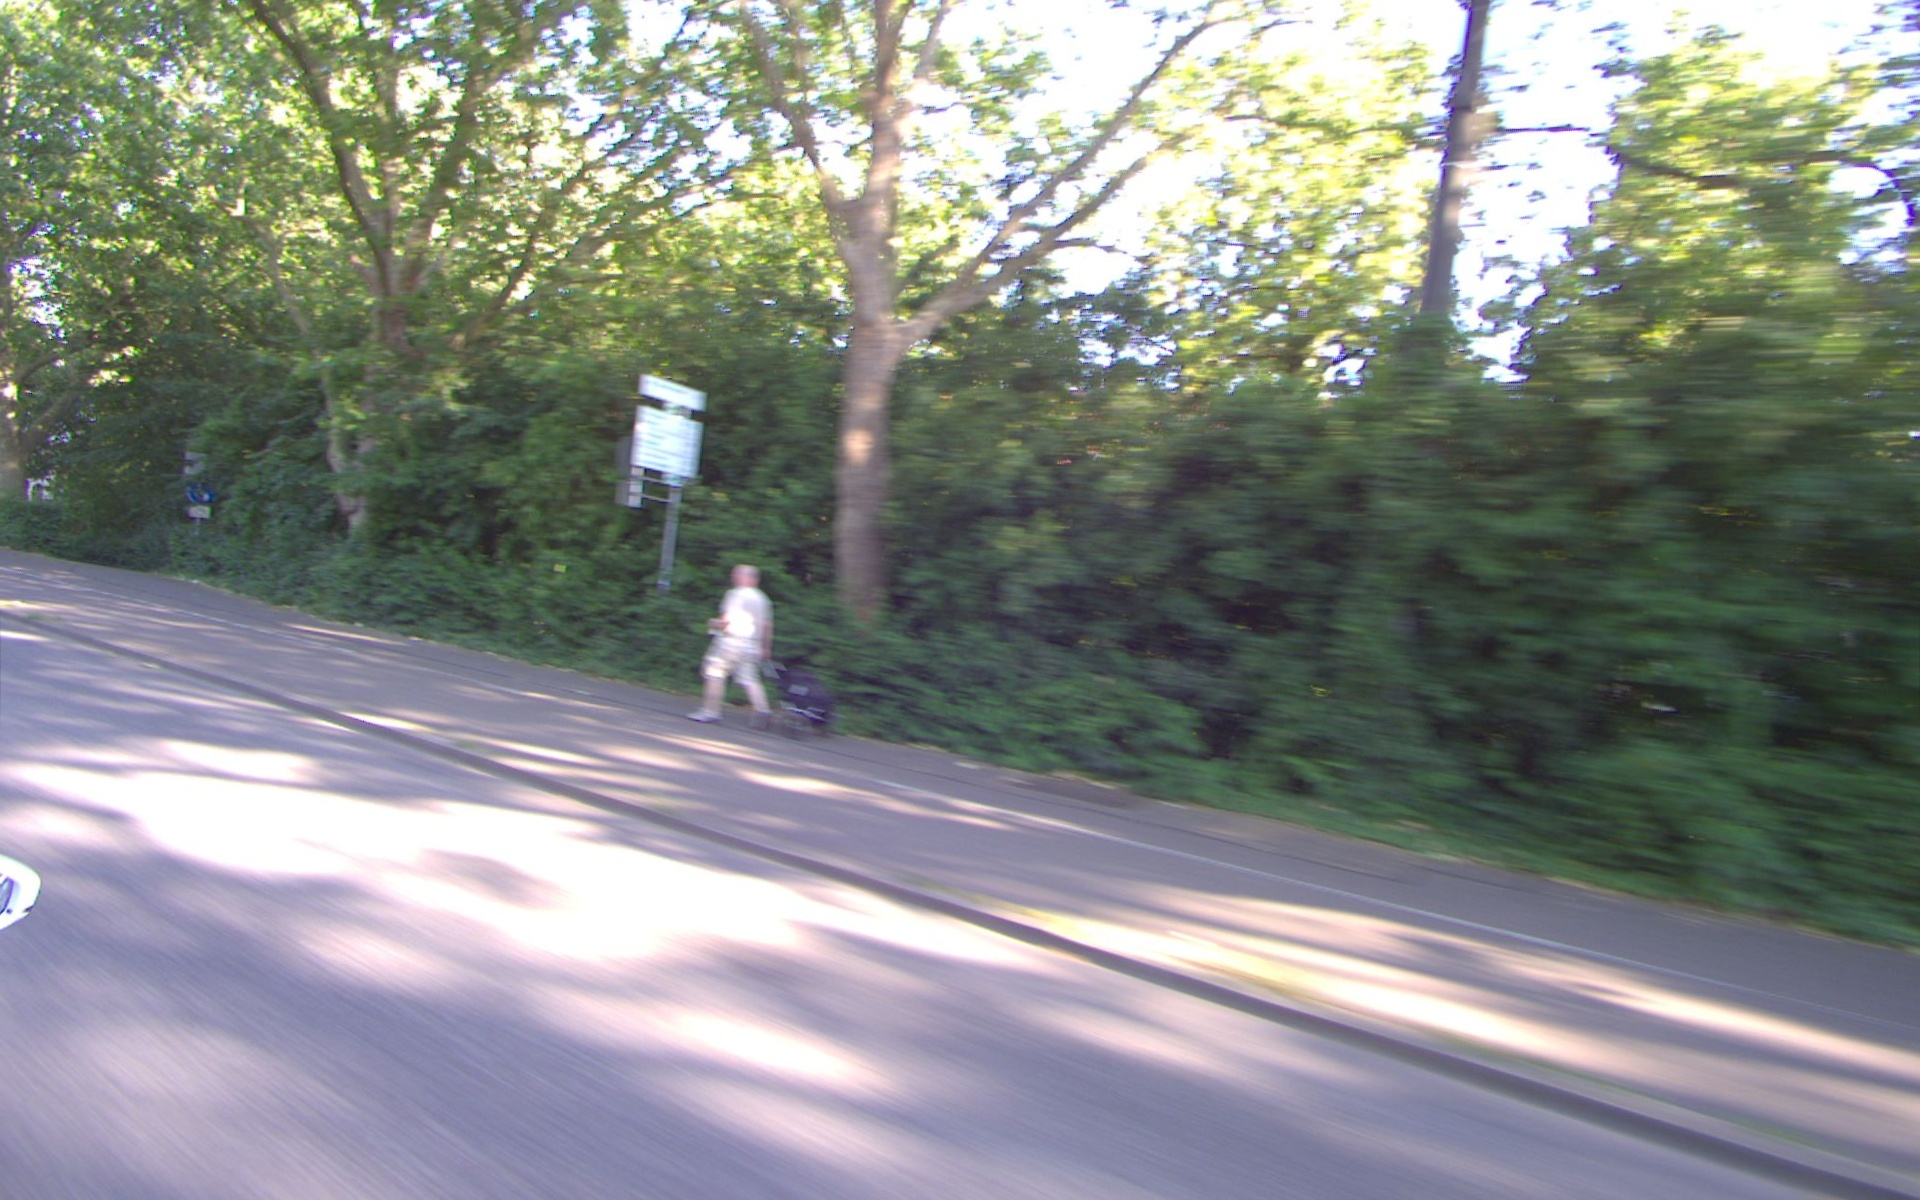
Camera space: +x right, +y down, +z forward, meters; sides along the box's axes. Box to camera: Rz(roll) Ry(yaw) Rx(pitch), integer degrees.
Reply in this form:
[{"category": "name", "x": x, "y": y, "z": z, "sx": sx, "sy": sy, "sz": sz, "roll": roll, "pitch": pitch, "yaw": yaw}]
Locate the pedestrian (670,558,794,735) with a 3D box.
[{"category": "pedestrian", "x": -2.335, "y": 0.461, "z": 10.298, "sx": 0.912, "sy": 1.657, "sz": 0.648, "roll": 7, "pitch": 2, "yaw": 32}]
